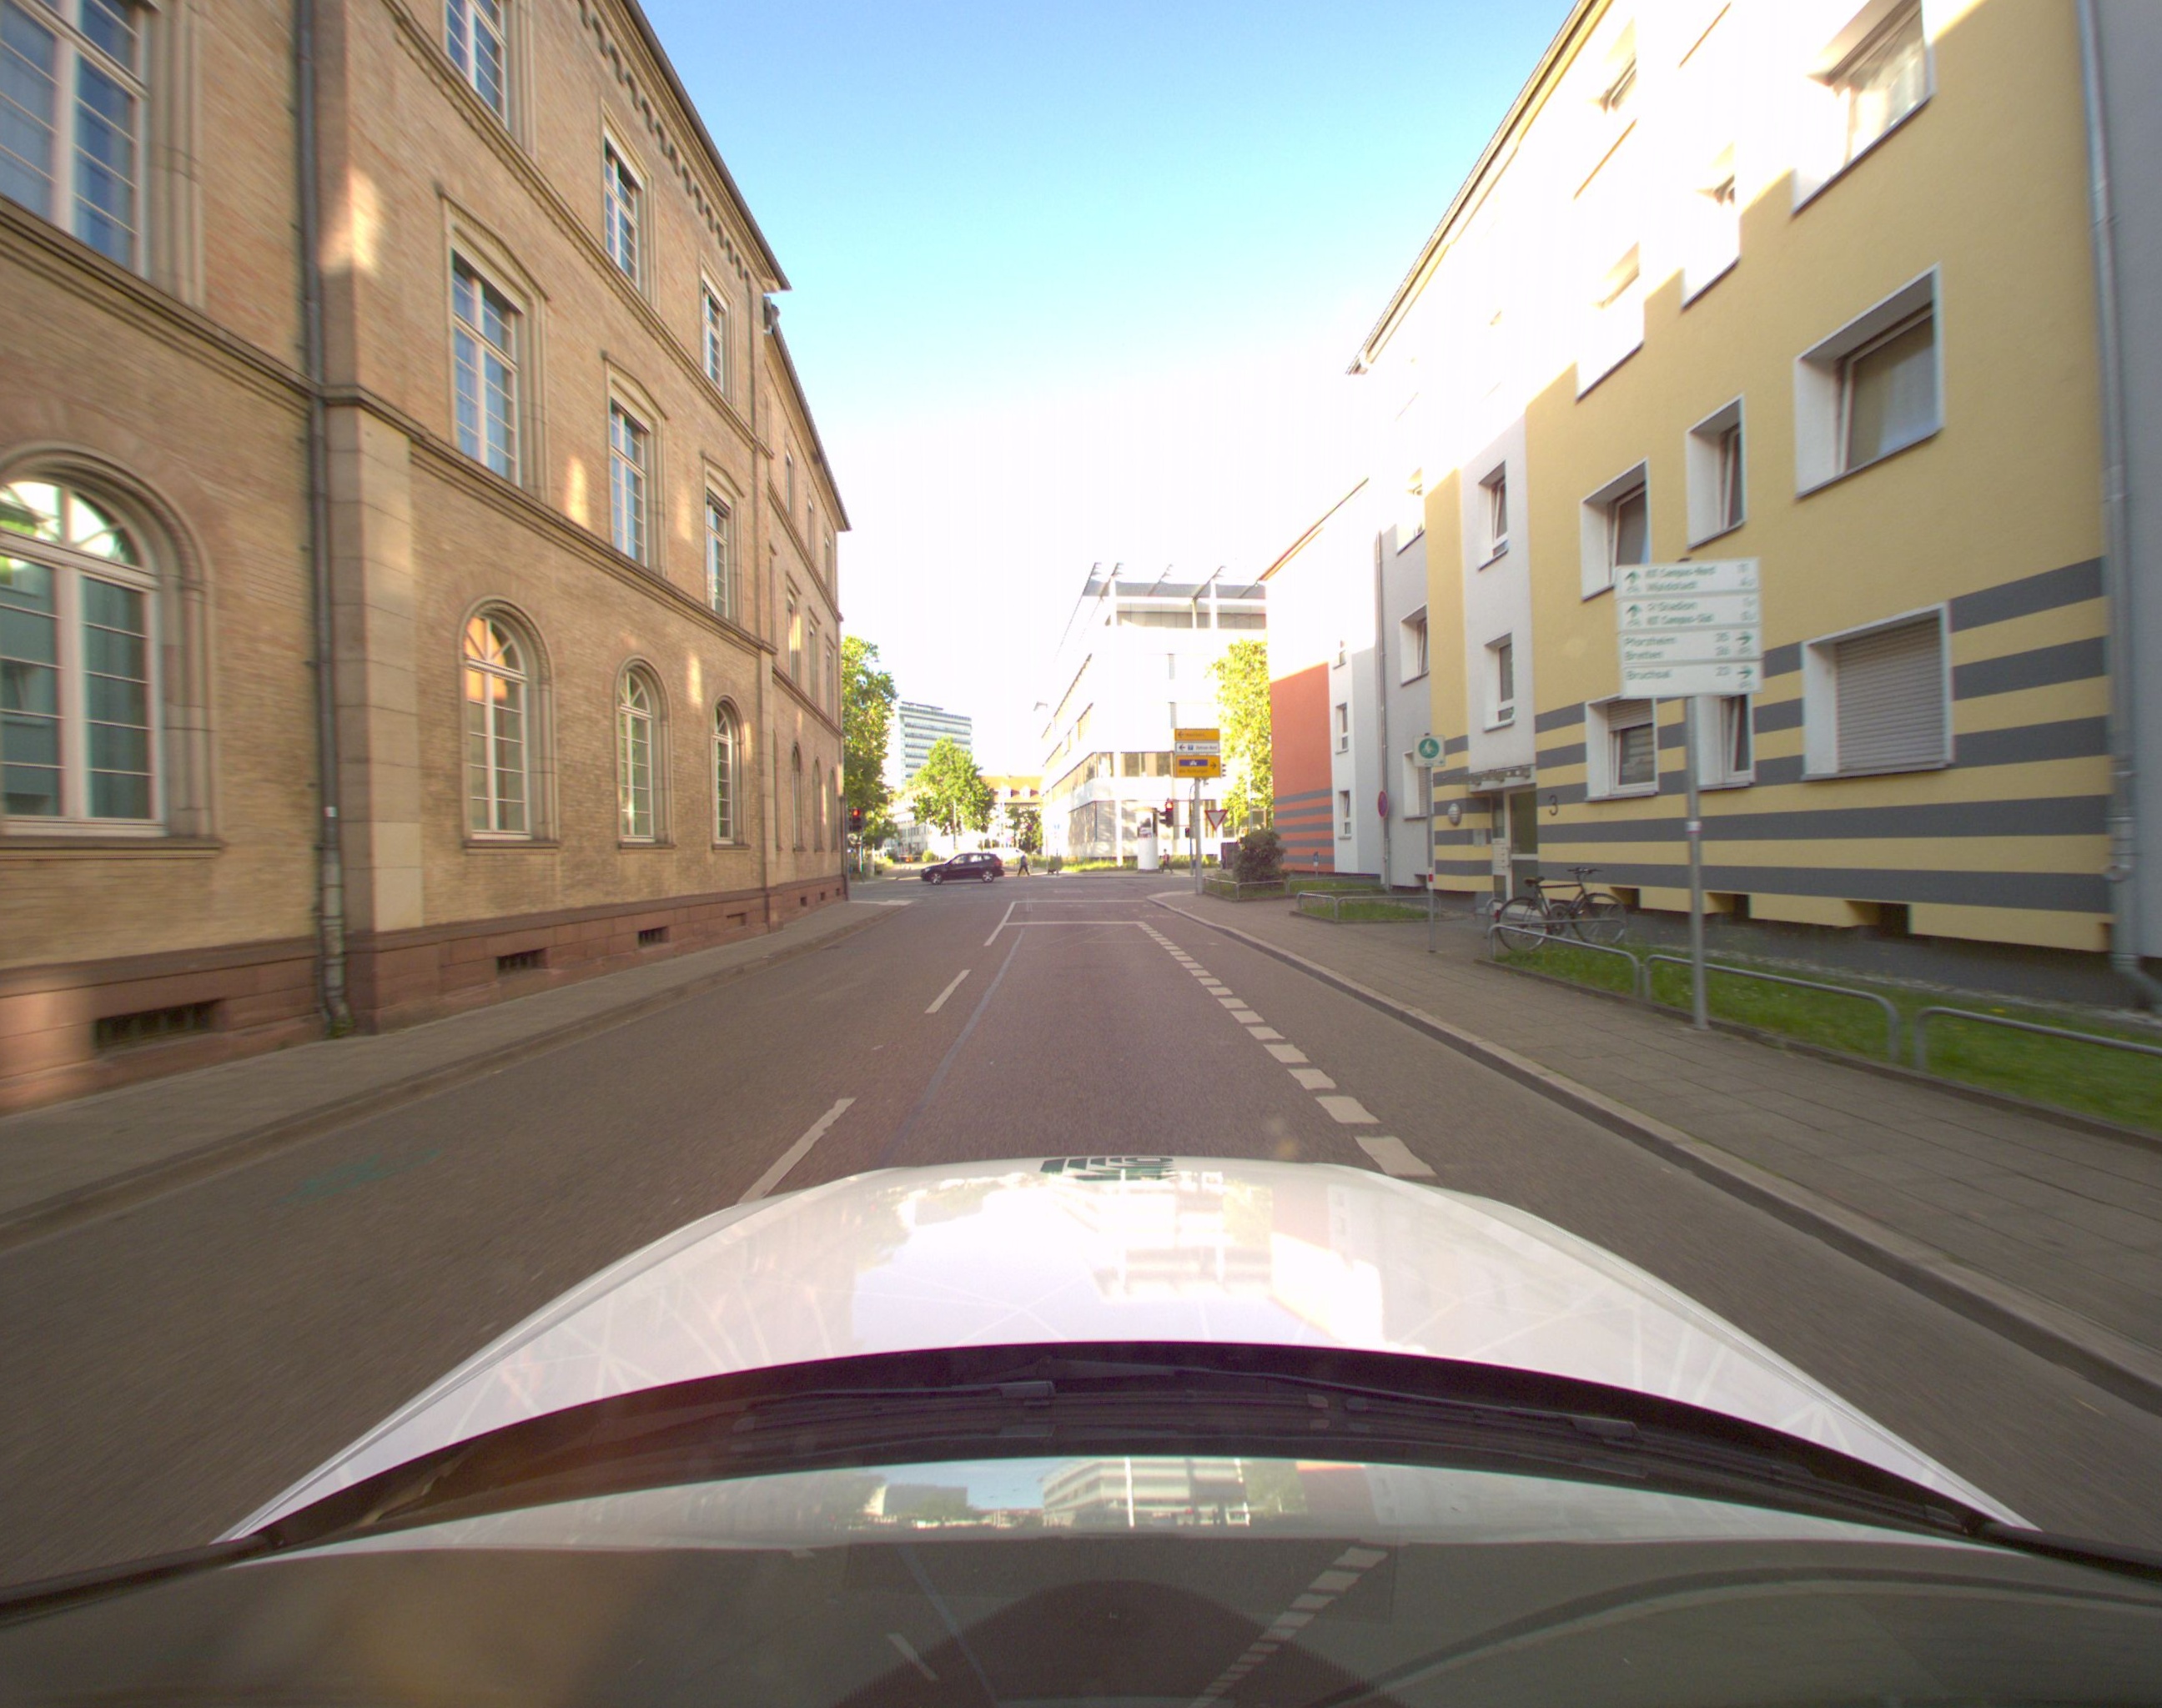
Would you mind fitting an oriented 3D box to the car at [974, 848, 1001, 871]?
[{"bbox_3d":[-9.226,0.532,79.829,2.424,2.112,5.215,0,-1,-9],"label":"car"}]

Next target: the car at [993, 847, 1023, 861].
[{"bbox_3d":[-10.482,0.034,117.424,4.000,1.915,1.907,1,-1,-20],"label":"car"}]

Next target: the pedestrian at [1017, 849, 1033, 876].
[{"bbox_3d":[-3.704,0.586,53.719,0.927,1.759,0.844,0,-1,-10],"label":"pedestrian"}]

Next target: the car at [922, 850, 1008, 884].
[{"bbox_3d":[-6.105,0.641,43.082,4.365,1.633,1.994,-2,0,-9],"label":"car"}]

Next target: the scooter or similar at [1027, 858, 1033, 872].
[{"bbox_3d":[-3.799,0.810,61.083,0.325,1.059,1.139,-1,0,-9],"label":"scooter or similar"}]

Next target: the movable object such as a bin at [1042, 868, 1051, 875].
[{"bbox_3d":[-2.323,1.178,55.164,0.590,0.480,0.285,-2,0,-14],"label":"movable object such as a bin"}]

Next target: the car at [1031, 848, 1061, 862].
[{"bbox_3d":[-5.130,0.168,119.440,4.000,1.882,1.923,1,-1,-20],"label":"car"}]

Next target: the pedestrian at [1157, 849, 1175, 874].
[{"bbox_3d":[5.236,0.437,50.152,0.927,1.515,0.844,1,-1,-10],"label":"pedestrian"}]

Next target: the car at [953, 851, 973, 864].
[{"bbox_3d":[-16.049,0.442,110.551,2.331,1.733,4.986,0,-1,-11],"label":"car"}]

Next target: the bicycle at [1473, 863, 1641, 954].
[{"bbox_3d":[6.026,0.675,10.357,1.749,1.004,0.613,-4,-1,-2],"label":"bicycle"}]
